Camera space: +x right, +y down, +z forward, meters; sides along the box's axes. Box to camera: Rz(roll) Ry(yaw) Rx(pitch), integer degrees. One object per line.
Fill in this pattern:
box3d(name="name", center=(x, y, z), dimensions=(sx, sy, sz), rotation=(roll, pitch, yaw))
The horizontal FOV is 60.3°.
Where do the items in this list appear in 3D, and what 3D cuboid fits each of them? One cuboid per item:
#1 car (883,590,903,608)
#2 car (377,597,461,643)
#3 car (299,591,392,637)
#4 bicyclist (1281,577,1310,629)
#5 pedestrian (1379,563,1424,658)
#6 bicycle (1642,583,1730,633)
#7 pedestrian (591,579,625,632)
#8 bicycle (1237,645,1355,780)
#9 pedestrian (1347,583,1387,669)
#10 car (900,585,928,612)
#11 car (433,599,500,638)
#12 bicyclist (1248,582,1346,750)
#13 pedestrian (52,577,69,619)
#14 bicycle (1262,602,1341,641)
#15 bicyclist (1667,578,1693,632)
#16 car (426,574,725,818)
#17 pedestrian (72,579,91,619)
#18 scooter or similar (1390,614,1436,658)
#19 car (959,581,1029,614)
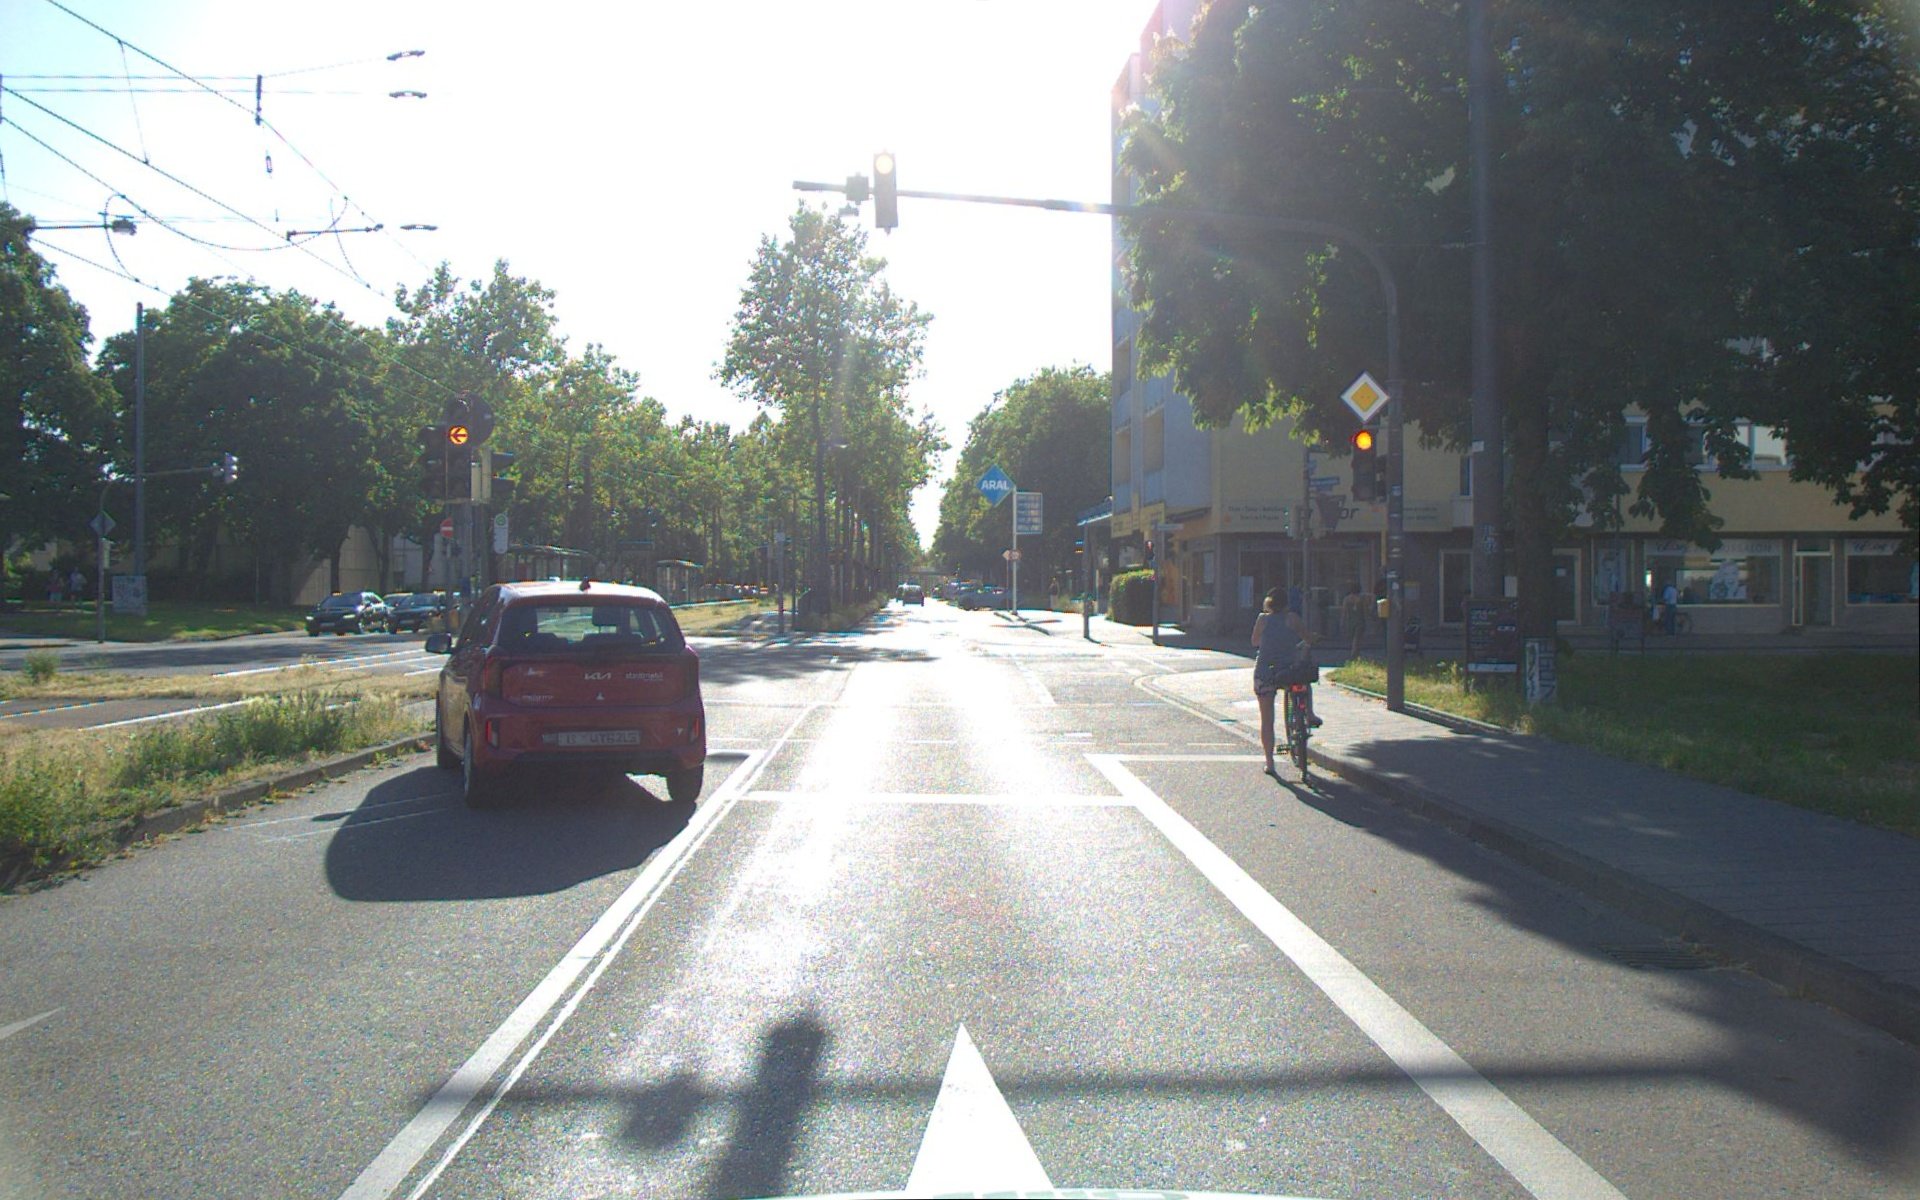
box3d(name="car", center=(-6.569, -0.098, 162.874), dimensions=(1.856, 1.639, 4.498), rotation=(2, 0, -3))
box3d(name="car", center=(-19.389, 0.695, 59.455), dimensions=(1.653, 1.560, 4.360), rotation=(0, 0, -1))
box3d(name="car", center=(-21.952, 0.467, 59.263), dimensions=(1.770, 1.560, 4.360), rotation=(0, 0, -1))
box3d(name="bicyclist", center=(9.800, 0.078, 48.259), dimensions=(0.752, 1.496, 0.899), rotation=(-1, 1, 15))
box3d(name="pedestrian", center=(8.126, 0.194, 30.446), dimensions=(0.714, 1.711, 0.533), rotation=(2, 0, 11))
box3d(name="bicycle", center=(22.258, 0.253, 50.731), dimensions=(2.421, 1.424, 0.608), rotation=(2, 0, -3))
box3d(name="pedestrian", center=(-11.153, 0.171, 52.417), dimensions=(0.873, 1.634, 0.613), rotation=(2, 0, -2))
box3d(name="bicycle", center=(2.809, 0.916, 13.989), dimensions=(0.634, 0.989, 1.804), rotation=(2, 0, 1))
box3d(name="pedestrian", center=(7.515, 0.474, 30.528), dimensions=(0.633, 1.549, 0.496), rotation=(2, 0, 11))
box3d(name="car", center=(-3.487, -0.148, 123.954), dimensions=(1.929, 1.892, 3.998), rotation=(2, 0, -3))
box3d(name="car", center=(-19.573, 0.712, 65.735), dimensions=(1.534, 1.426, 3.914), rotation=(2, 0, -1))
box3d(name="bicyclist", center=(2.821, 0.538, 13.892), dimensions=(0.625, 1.346, 0.803), rotation=(2, 0, 1))
box3d(name="pedestrian", center=(-34.772, -0.083, 63.934), dimensions=(0.427, 1.587, 0.305), rotation=(2, 0, -6))
box3d(name="bicycle", center=(9.968, 0.622, 48.249), dimensions=(2.203, 1.004, 0.790), rotation=(1, 5, 14))
box3d(name="bicyclist", center=(21.827, 0.143, 50.166), dimensions=(0.516, 1.594, 0.464), rotation=(2, 0, -4))
box3d(name="car", center=(-3.026, 0.599, 12.468), dimensions=(1.670, 1.534, 3.676), rotation=(2, 0, -21))
box3d(name="pedestrian", center=(-34.007, -0.044, 64.012), dimensions=(0.427, 1.533, 0.488), rotation=(2, 0, -5))
box3d(name="scooter or similar", center=(8.158, 0.639, 29.801), dimensions=(0.586, 0.750, 0.681), rotation=(2, 0, -2))
box3d(name="car", center=(2.140, -0.142, 103.327), dimensions=(3.903, 1.892, 2.013), rotation=(2, 0, 17))
